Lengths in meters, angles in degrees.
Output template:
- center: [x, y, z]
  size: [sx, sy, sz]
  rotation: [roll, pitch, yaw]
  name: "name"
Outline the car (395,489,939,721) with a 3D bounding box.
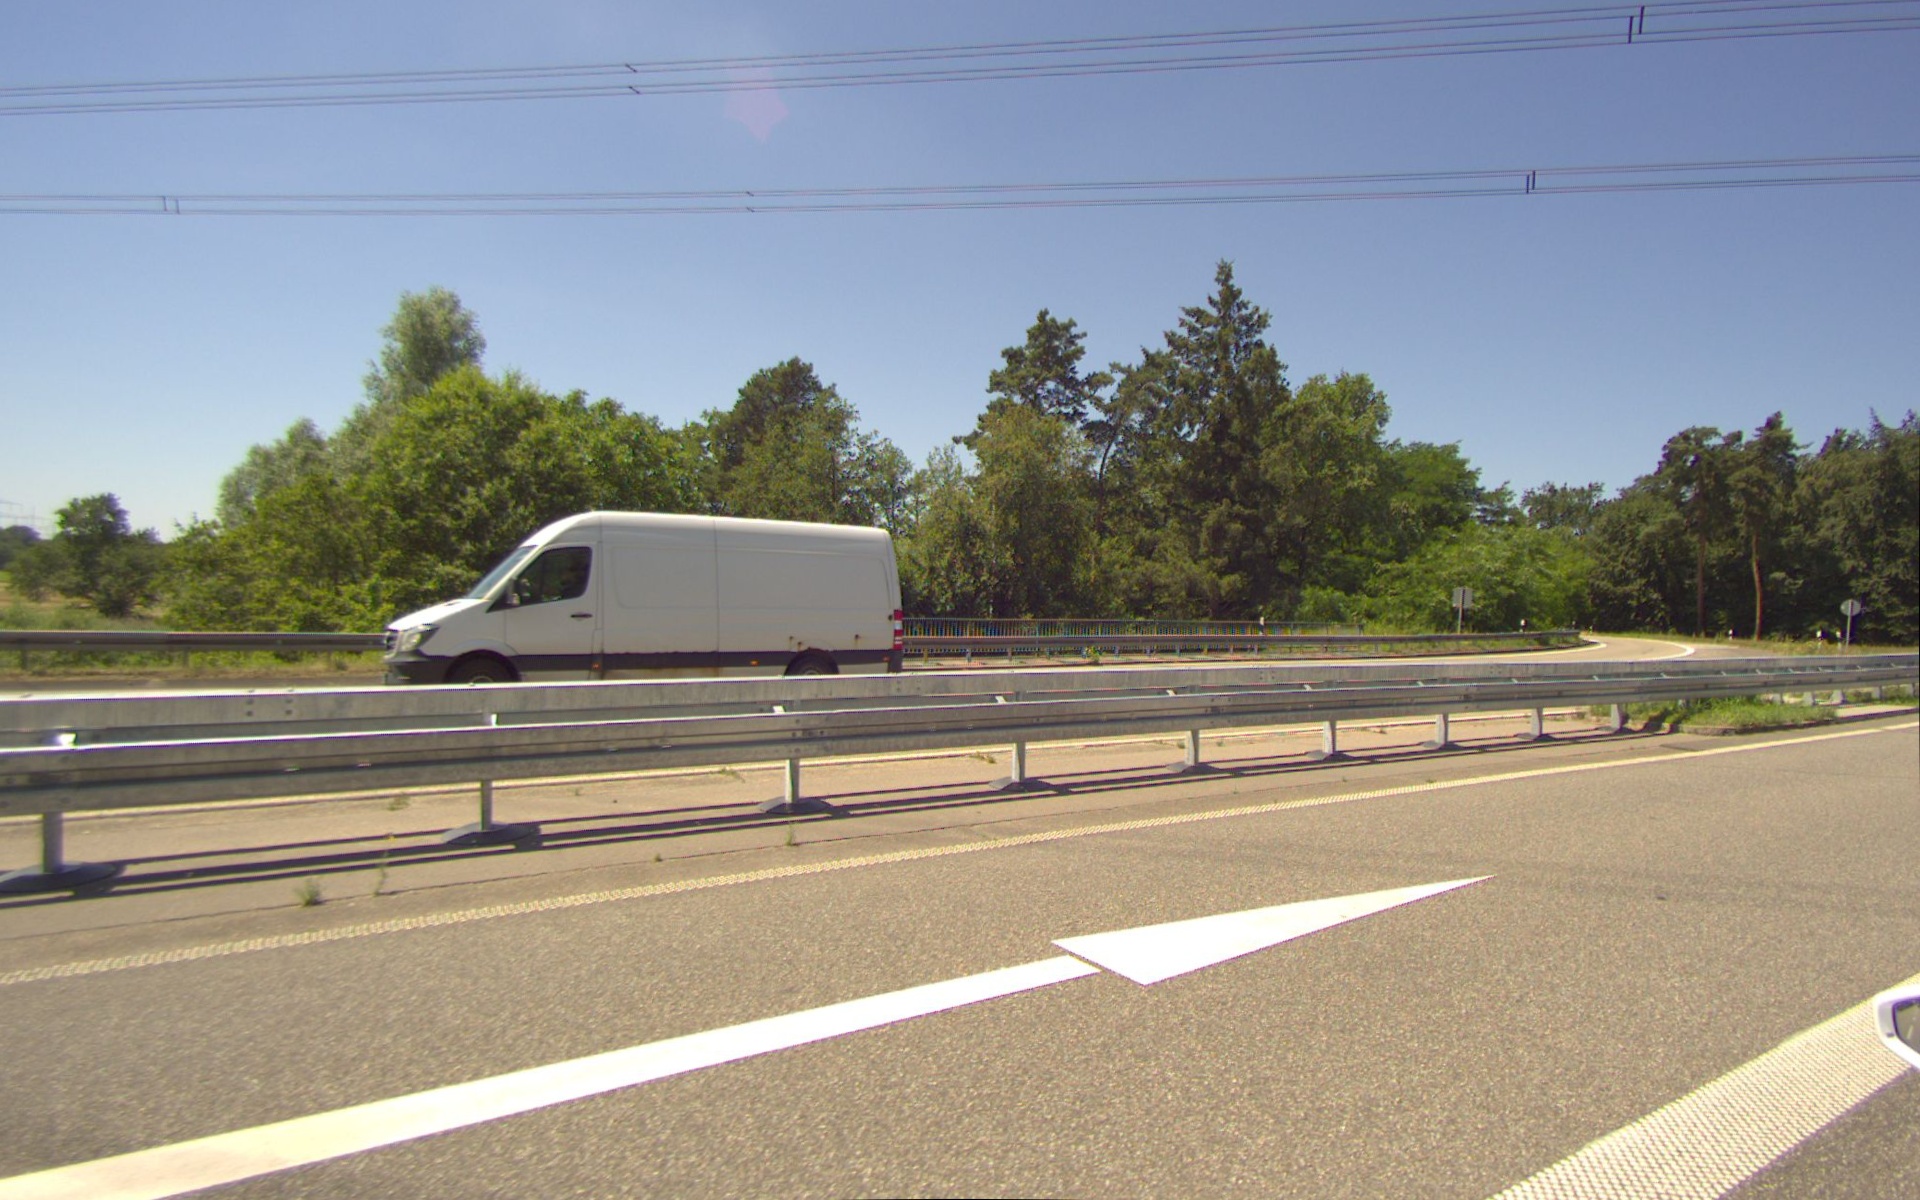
- center: [-3.999, 0.153, 14.413]
  size: [7.103, 2.652, 2.512]
  rotation: [1, -2, -31]
  name: "car"
